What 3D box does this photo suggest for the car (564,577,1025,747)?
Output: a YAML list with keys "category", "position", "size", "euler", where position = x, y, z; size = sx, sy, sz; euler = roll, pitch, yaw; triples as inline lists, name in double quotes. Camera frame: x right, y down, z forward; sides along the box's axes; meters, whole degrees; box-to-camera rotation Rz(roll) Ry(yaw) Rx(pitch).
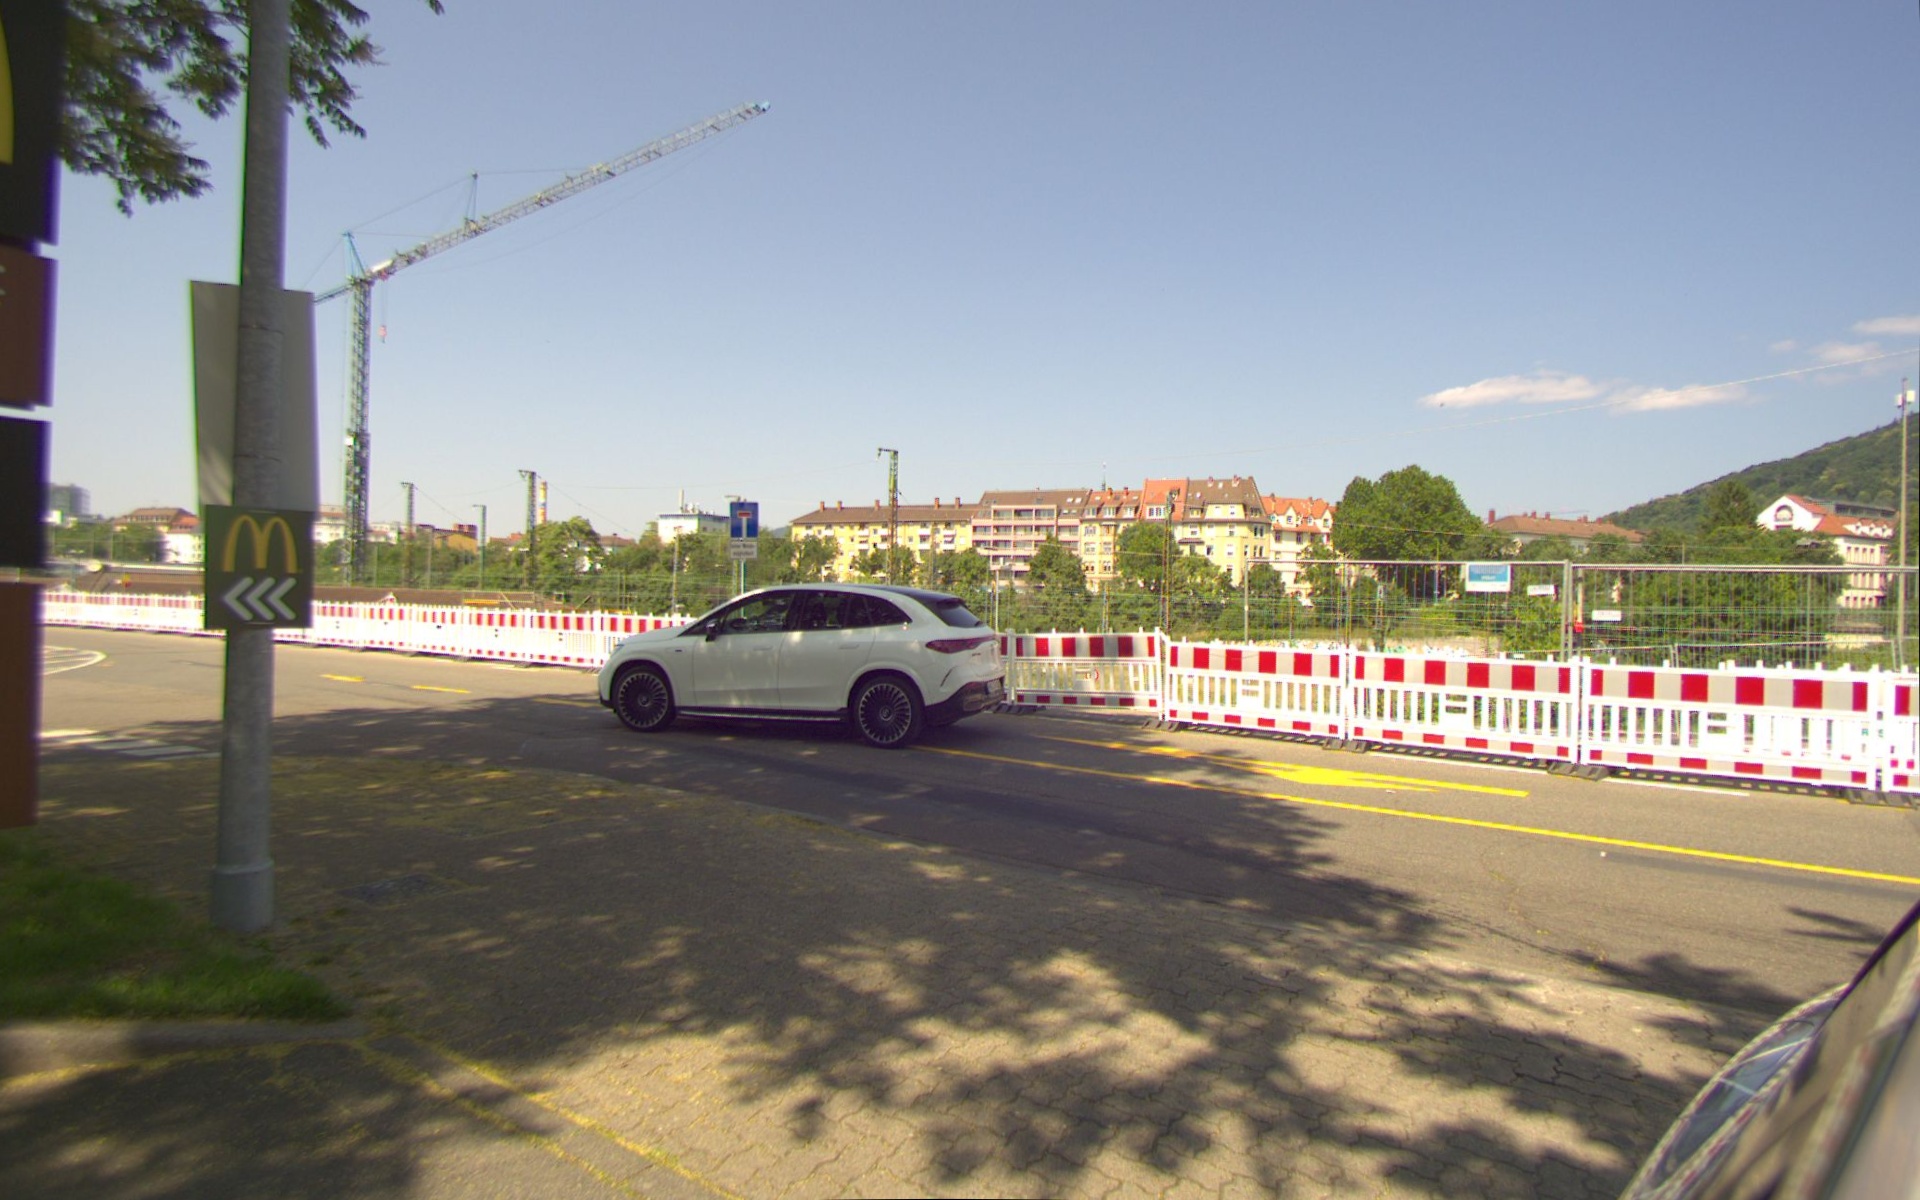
- category: "car"
  position: [-1.886, 0.605, 11.788]
  size: [4.964, 1.665, 1.988]
  euler: [1, 0, 18]
